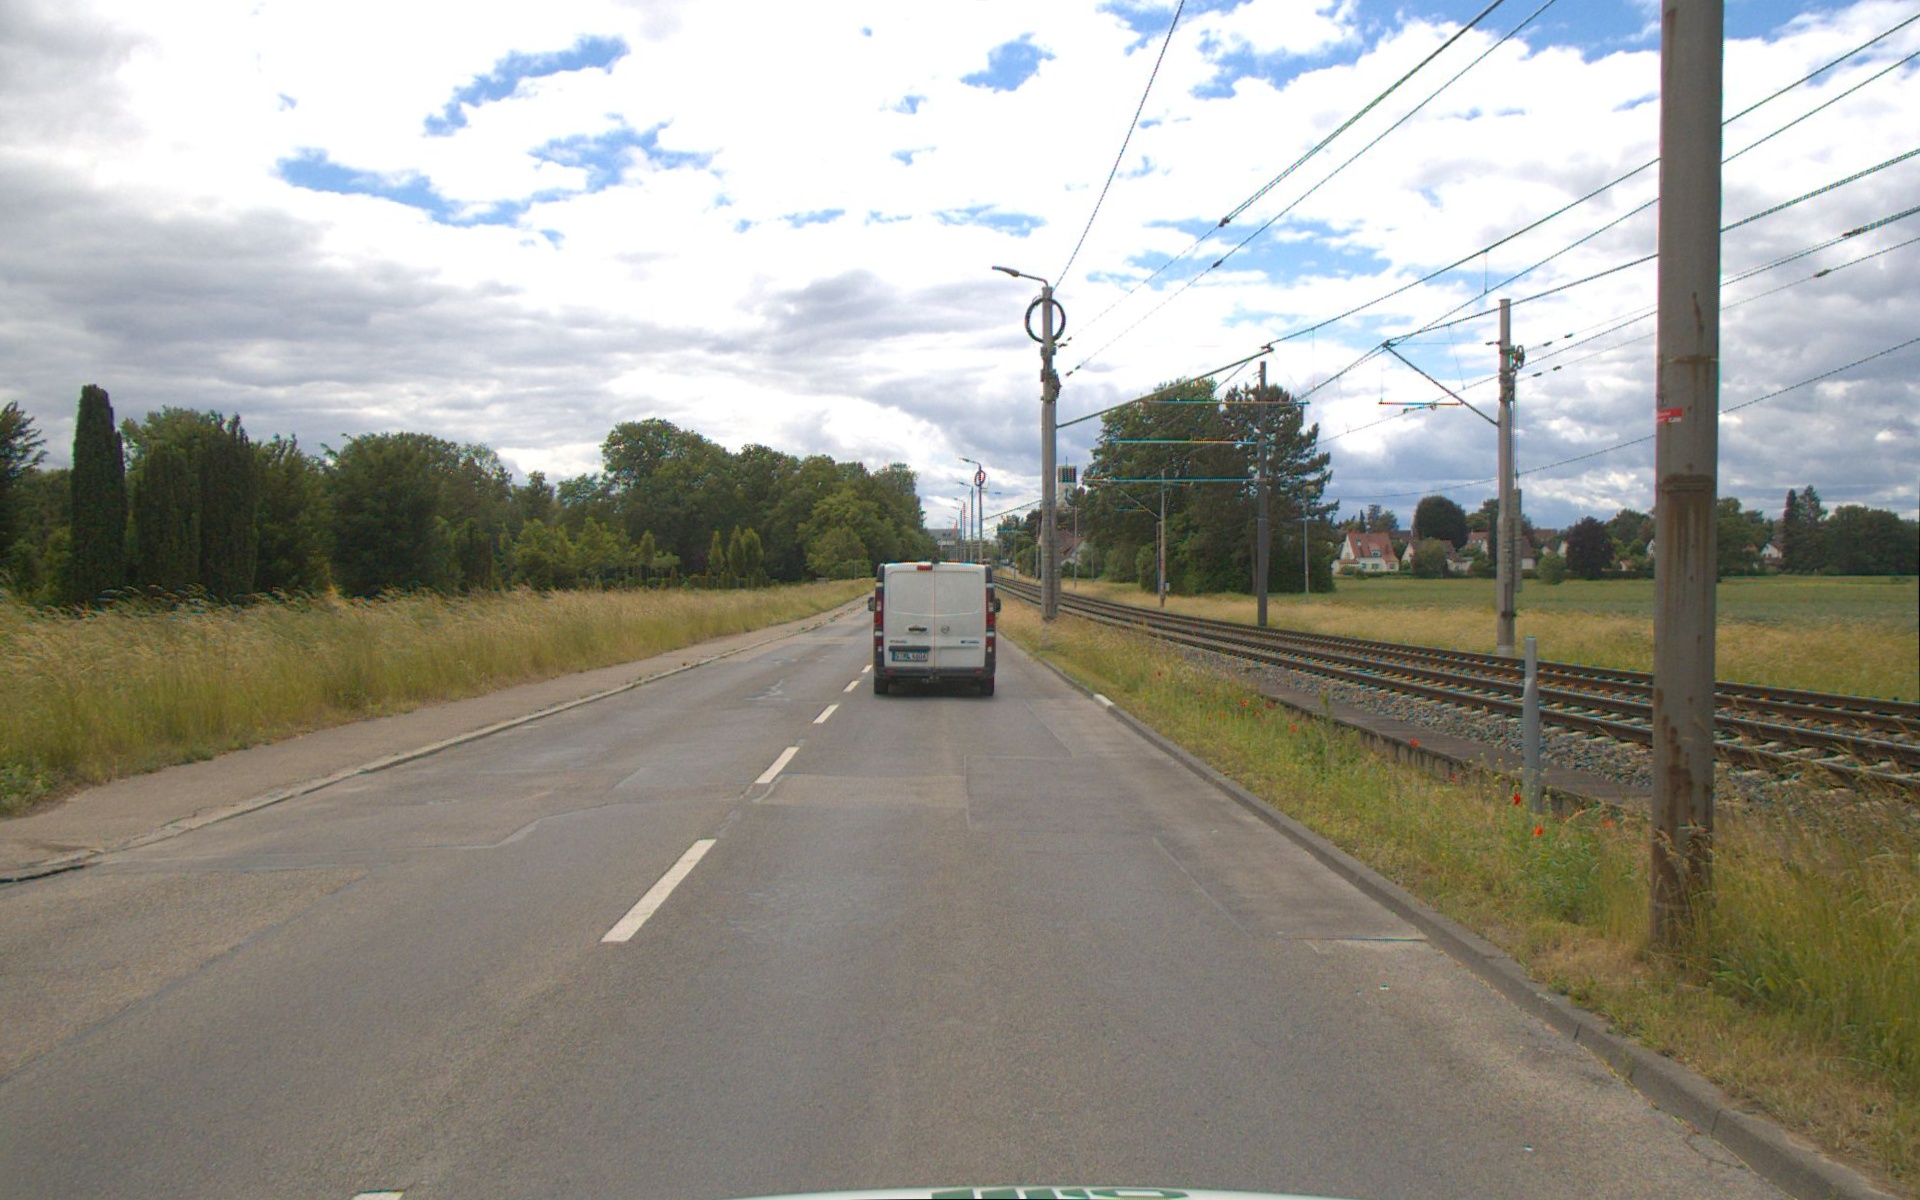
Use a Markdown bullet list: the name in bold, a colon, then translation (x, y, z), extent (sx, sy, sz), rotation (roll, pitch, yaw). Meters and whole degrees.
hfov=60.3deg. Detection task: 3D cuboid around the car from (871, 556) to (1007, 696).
- **car**: translation (-0.365, 0.358, 25.740), extent (1.953, 1.991, 3.999), rotation (0, 0, -2)
